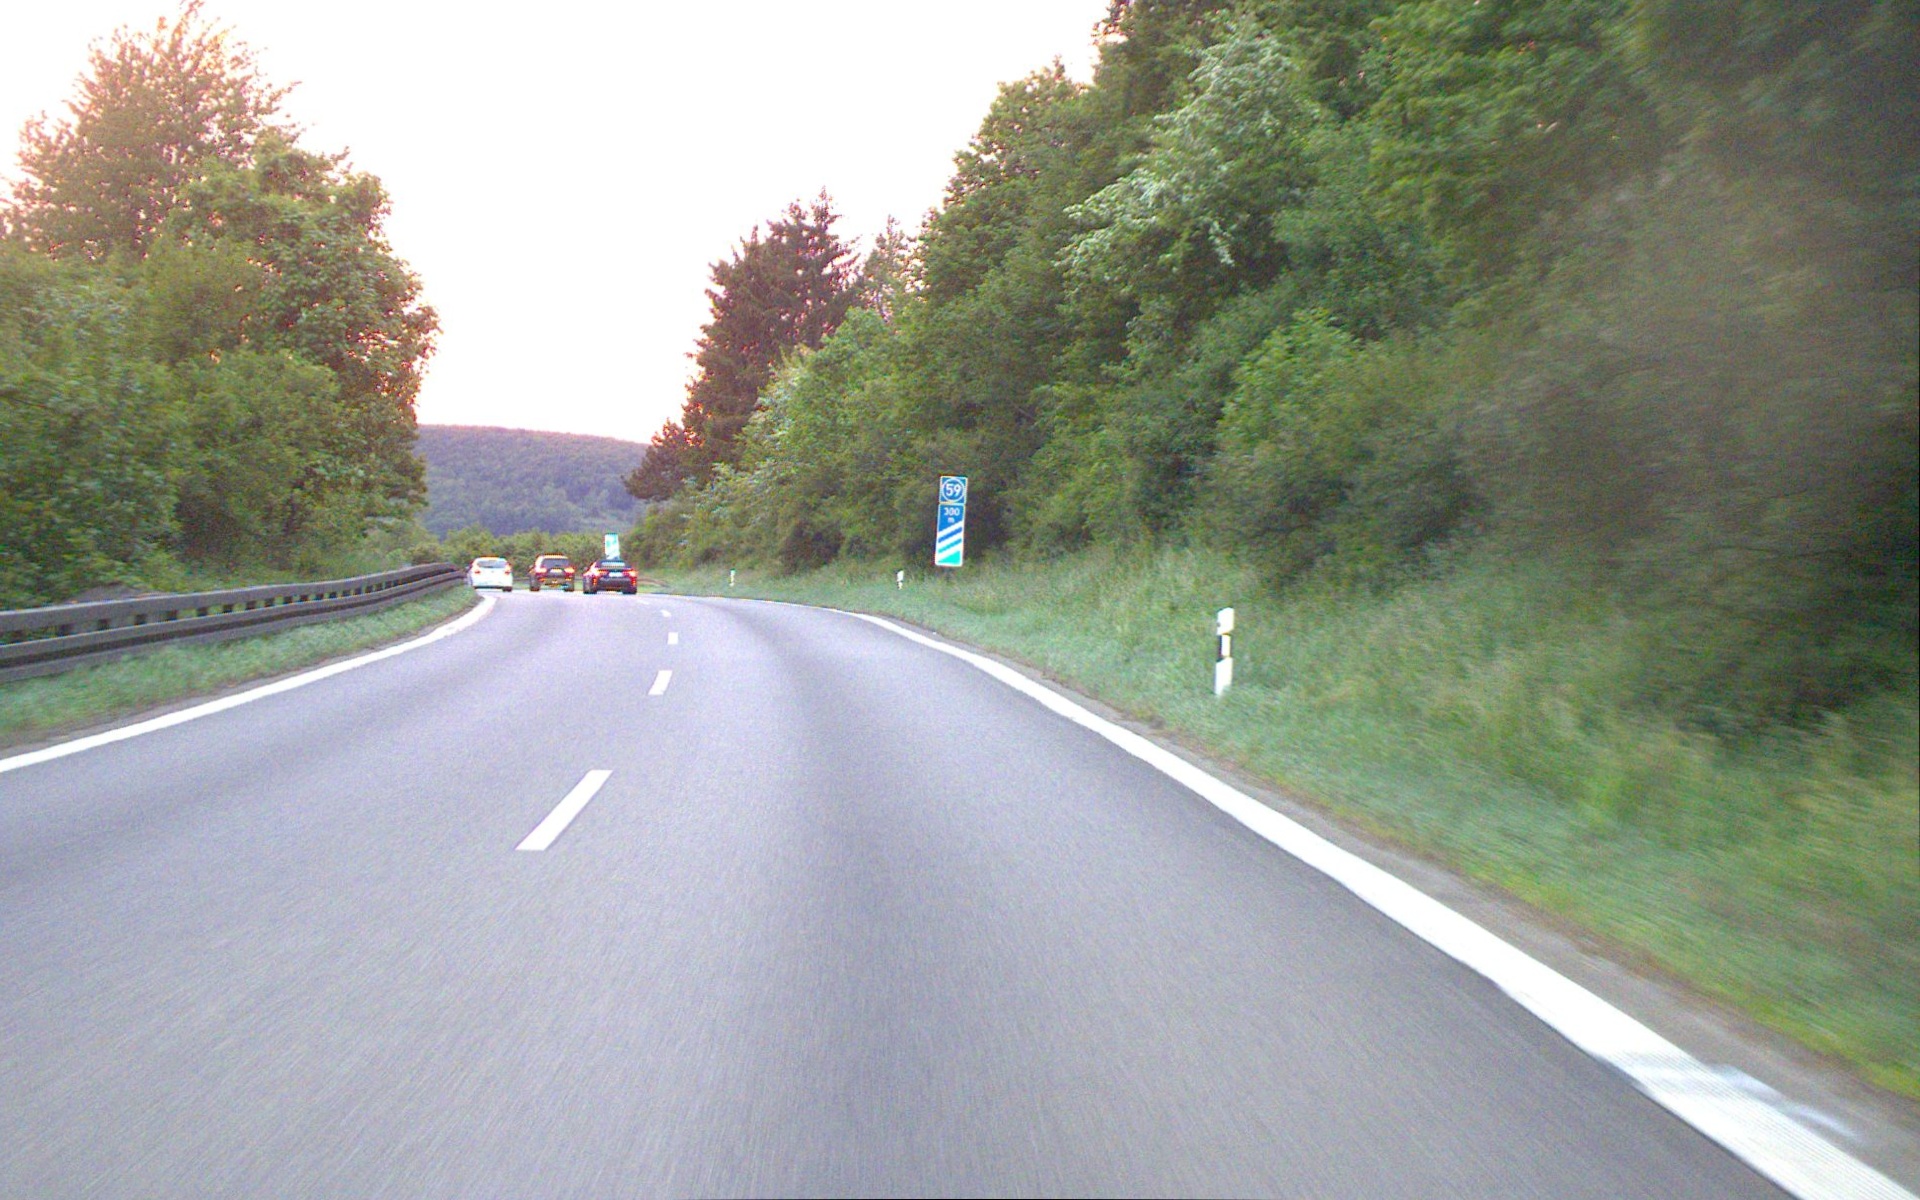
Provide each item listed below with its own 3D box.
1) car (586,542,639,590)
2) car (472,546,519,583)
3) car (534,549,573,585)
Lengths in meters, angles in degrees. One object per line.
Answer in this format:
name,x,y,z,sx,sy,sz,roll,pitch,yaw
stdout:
car,-14.093,-1.351,139.343,1.993,1.640,4.000,4,-2,-7
car,-20.213,-1.535,149.701,1.718,1.496,4.000,2,-1,-4
car,-18.785,-1.527,158.868,1.718,1.629,4.001,0,0,-8
